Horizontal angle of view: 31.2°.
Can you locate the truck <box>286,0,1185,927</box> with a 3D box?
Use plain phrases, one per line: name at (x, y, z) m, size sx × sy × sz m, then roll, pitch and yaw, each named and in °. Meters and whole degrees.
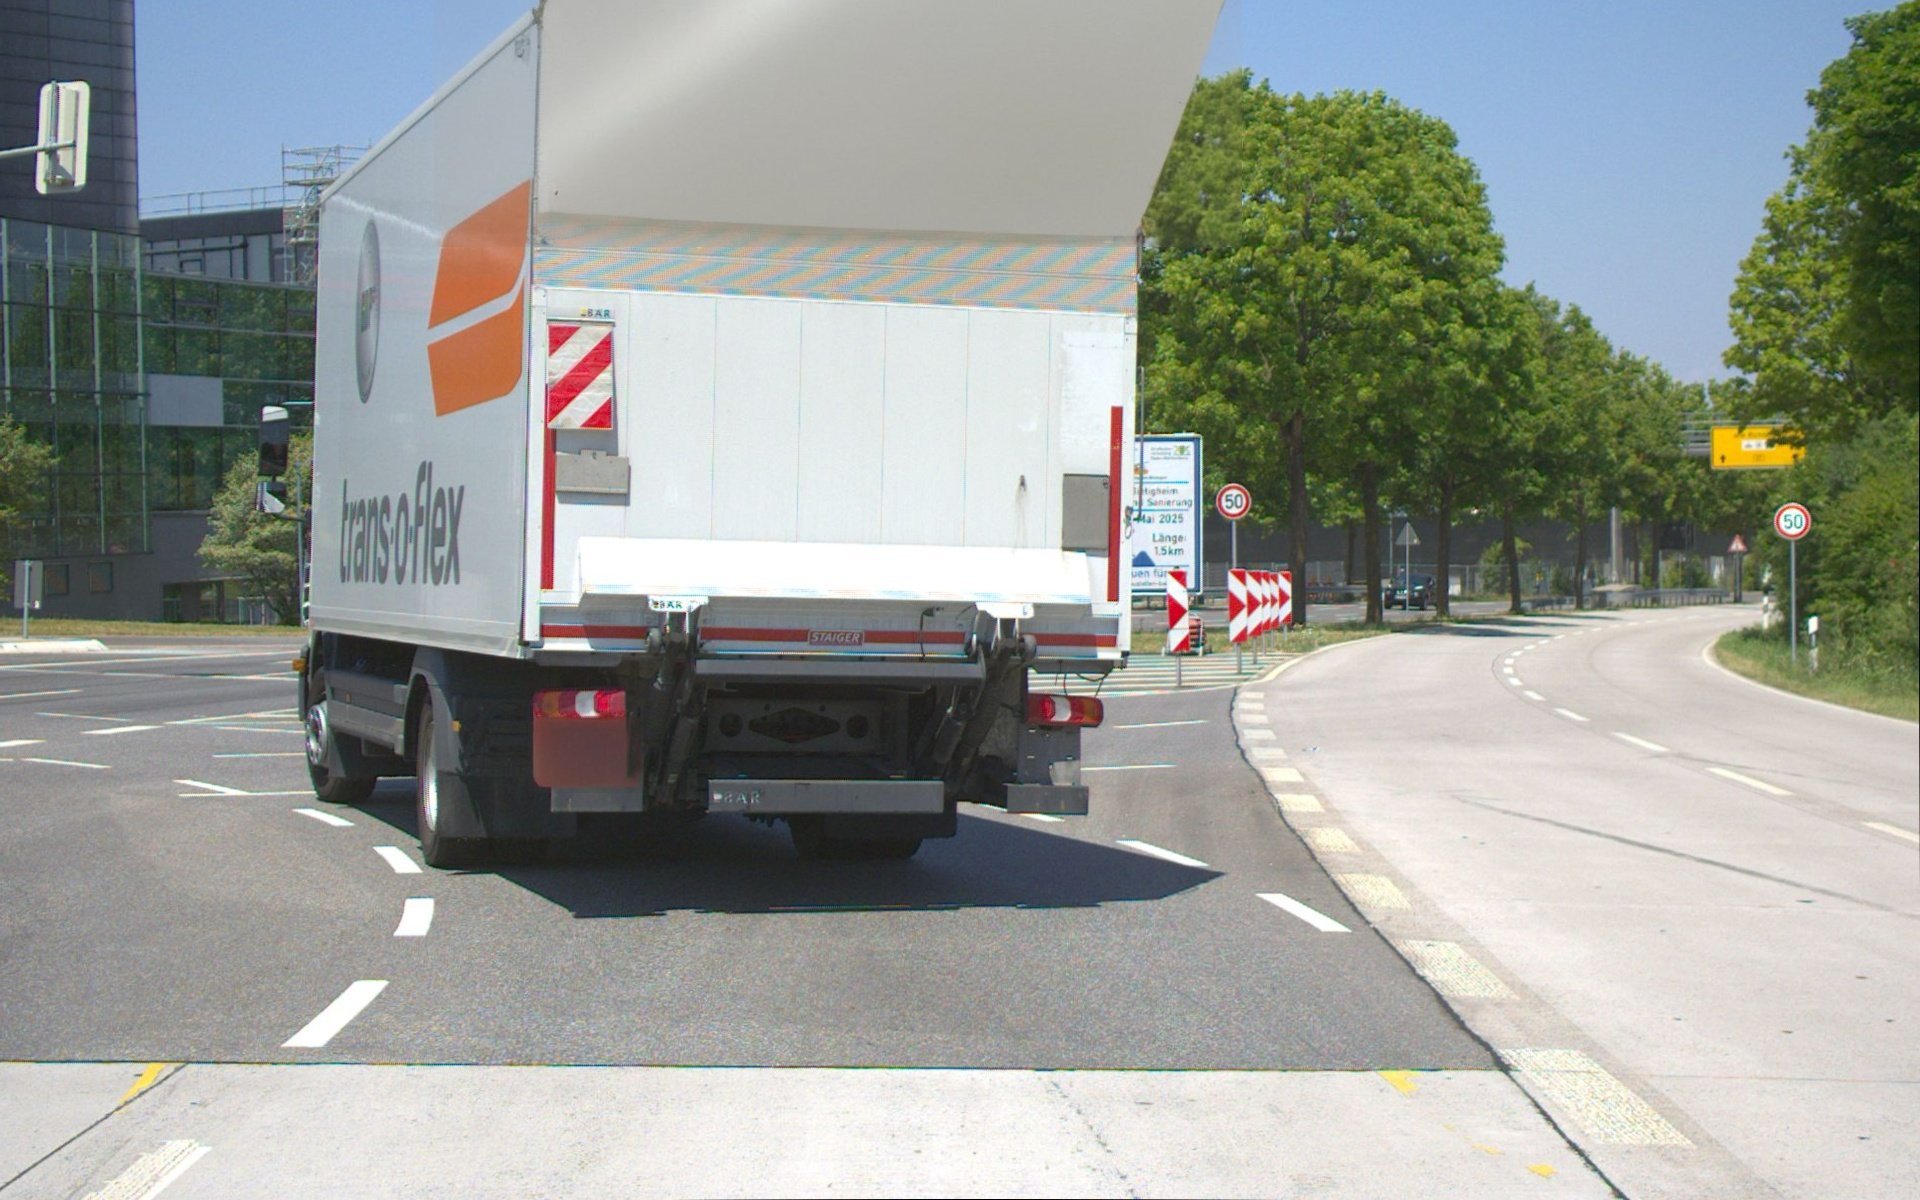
truck at (-1.723, -0.698, 18.106) m, size 2.768 × 3.846 × 9.373 m, roll 1°, pitch 0°, yaw -16°
